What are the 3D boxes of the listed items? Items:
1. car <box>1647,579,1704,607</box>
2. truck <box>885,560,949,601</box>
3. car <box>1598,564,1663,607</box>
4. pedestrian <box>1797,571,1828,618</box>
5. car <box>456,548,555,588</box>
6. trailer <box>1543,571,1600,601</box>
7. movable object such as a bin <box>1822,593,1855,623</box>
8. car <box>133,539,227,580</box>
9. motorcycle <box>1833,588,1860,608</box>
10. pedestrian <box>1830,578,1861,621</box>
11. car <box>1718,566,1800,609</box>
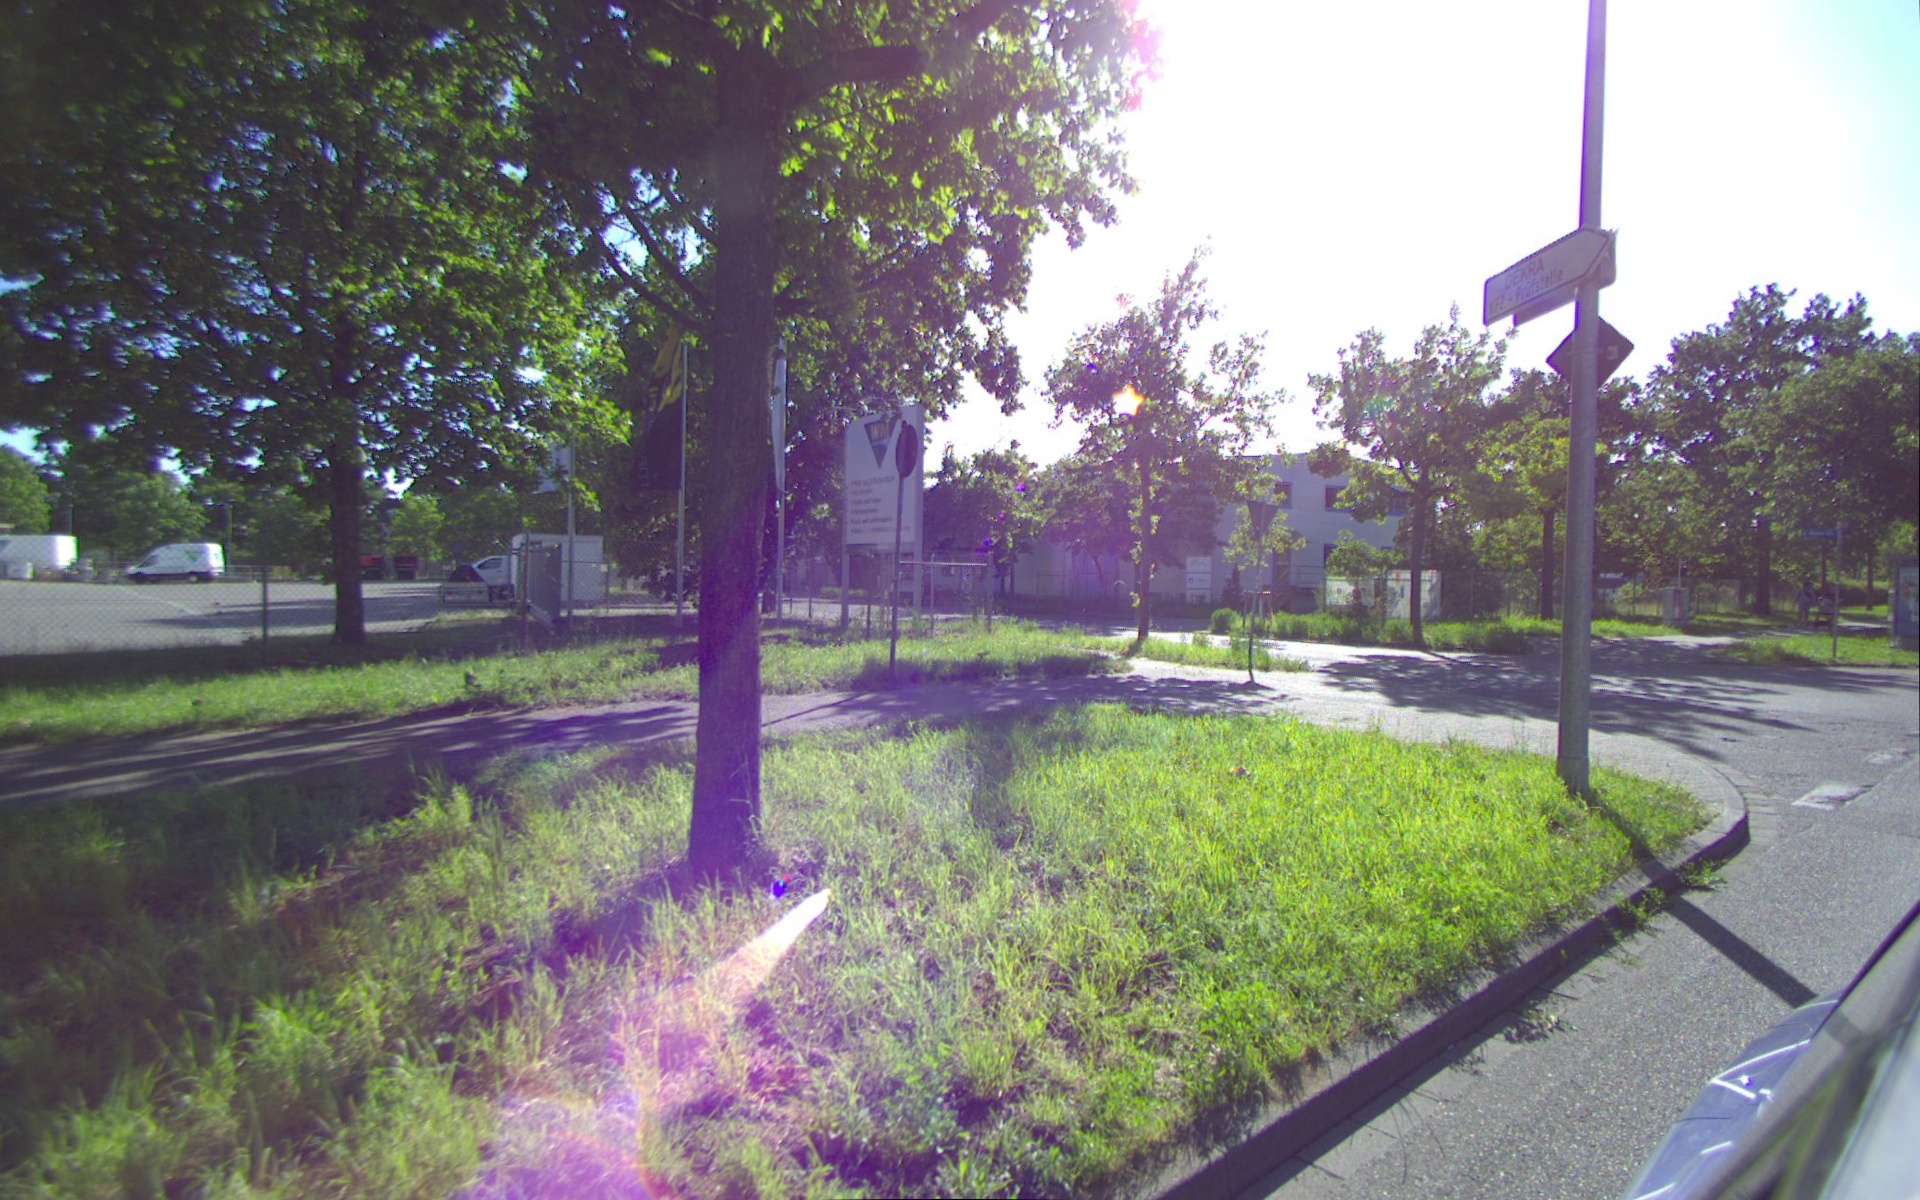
[{"bbox_3d":[45.491,-0.455,64.340,3.531,1.685,2.011,0,2,-38],"label":"car"},{"bbox_3d":[-2.437,-1.122,55.918,1.958,2.138,5.166,-2,3,-21],"label":"truck"},{"bbox_3d":[44.174,-0.955,66.663,4.762,2.676,2.166,0,2,-38],"label":"car"},{"bbox_3d":[32.992,-0.224,39.178,0.852,1.777,0.727,0,2,-39],"label":"pedestrian"},{"bbox_3d":[-23.794,-1.667,52.961,4.638,2.011,2.004,0,2,-27],"label":"car"},{"bbox_3d":[49.062,-1.127,81.207,3.711,2.336,2.200,0,2,-26],"label":"trailer"},{"bbox_3d":[33.318,0.289,38.382,0.852,1.094,0.728,0,3,-39],"label":"movable object such as a bin"},{"bbox_3d":[-54.394,-2.820,70.688,4.749,2.732,2.172,1,1,-11],"label":"car"},{"bbox_3d":[64.774,-0.160,73.955,2.358,1.246,0.666,-5,4,-27],"label":"motorcycle"},{"bbox_3d":[34.028,-0.023,38.905,0.852,1.623,0.727,0,2,-39],"label":"pedestrian"},{"bbox_3d":[55.204,-0.843,69.886,5.848,2.599,2.094,3,-1,-26],"label":"car"}]
